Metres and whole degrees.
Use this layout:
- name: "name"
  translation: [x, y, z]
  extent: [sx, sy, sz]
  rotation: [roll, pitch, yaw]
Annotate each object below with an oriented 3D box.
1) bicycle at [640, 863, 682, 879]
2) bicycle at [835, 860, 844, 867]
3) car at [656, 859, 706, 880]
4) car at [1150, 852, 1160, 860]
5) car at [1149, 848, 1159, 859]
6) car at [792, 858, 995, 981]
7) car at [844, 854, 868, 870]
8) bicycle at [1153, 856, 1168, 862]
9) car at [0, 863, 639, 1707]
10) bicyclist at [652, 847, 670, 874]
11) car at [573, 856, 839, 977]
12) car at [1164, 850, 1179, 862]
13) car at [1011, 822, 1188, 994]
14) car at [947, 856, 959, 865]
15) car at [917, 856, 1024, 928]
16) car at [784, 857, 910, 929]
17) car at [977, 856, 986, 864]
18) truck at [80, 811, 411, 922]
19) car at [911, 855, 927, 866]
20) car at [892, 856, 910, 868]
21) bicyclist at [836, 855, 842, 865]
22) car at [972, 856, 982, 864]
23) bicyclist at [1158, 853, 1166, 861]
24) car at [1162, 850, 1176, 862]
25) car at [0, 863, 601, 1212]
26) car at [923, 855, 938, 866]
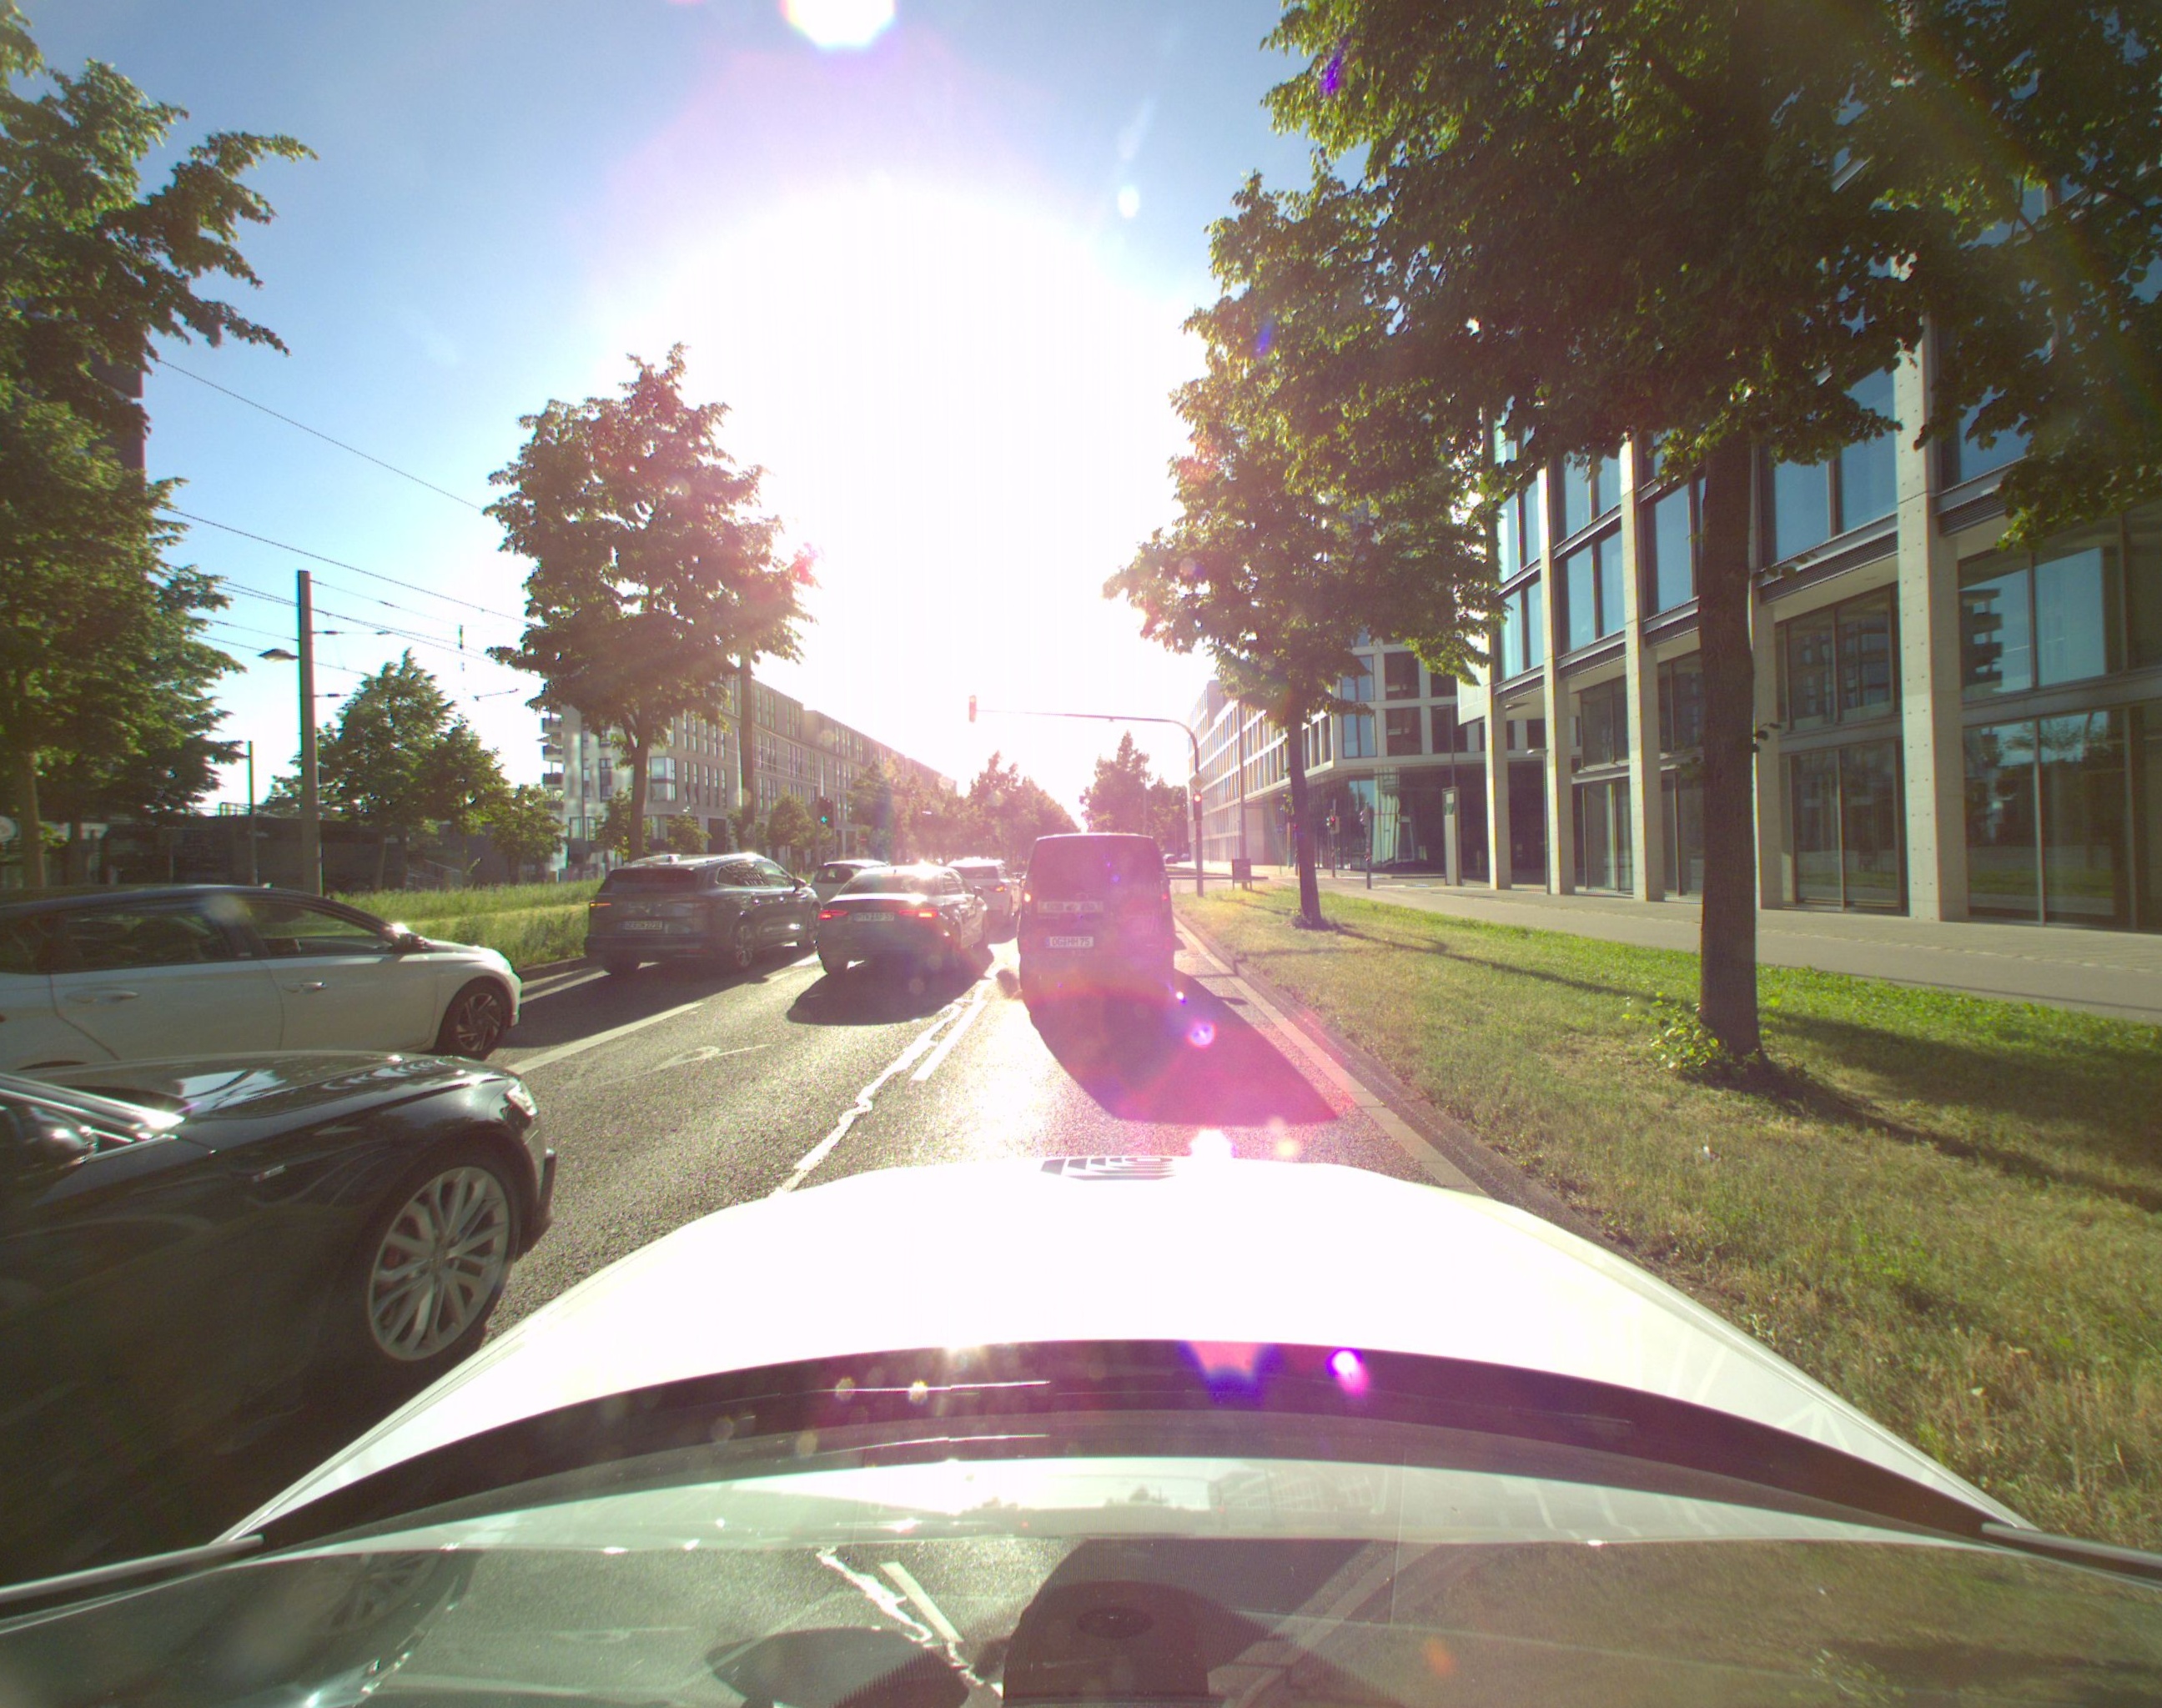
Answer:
- name: "bicycle"
  translation: [-34.100, 1.359, 66.173]
  extent: [2.931, 1.190, 0.818]
  rotation: [-2, 0, 1]
- name: "bicycle"
  translation: [-36.159, 1.421, 121.721]
  extent: [0.674, 0.988, 1.957]
  rotation: [-2, 0, 2]
- name: "car"
  translation: [-31.016, 1.158, 63.193]
  extent: [1.758, 1.520, 4.002]
  rotation: [-2, 0, 2]
- name: "car"
  translation: [16.500, 0.388, 180.813]
  extent: [1.986, 1.782, 4.002]
  rotation: [-2, 0, 2]
- name: "car"
  translation: [17.877, -0.145, 199.314]
  extent: [1.986, 2.497, 4.988]
  rotation: [-2, 0, 2]
- name: "car"
  translation: [-2.491, 0.799, 11.993]
  extent: [1.835, 1.426, 4.340]
  rotation: [-1, 0, 2]
- name: "car"
  translation: [-30.866, 1.085, 111.714]
  extent: [1.986, 2.013, 4.002]
  rotation: [-1, 0, 2]
- name: "bicycle"
  translation: [14.816, 0.920, 151.036]
  extent: [2.611, 1.106, 0.957]
  rotation: [-2, 0, 36]
- name: "car"
  translation: [-2.782, 0.807, 0.828]
  extent: [1.868, 1.484, 4.967]
  rotation: [-2, 0, 1]
- name: "bicyclist"
  translation: [-34.128, 0.524, 66.188]
  extent: [0.936, 2.092, 0.818]
  rotation: [-2, 0, 1]
- name: "car"
  translation: [-5.283, 0.790, 12.280]
  extent: [1.793, 1.447, 4.569]
  rotation: [-1, -1, 1]
- name: "car"
  translation: [14.330, 0.308, 128.918]
  extent: [1.986, 1.782, 4.002]
  rotation: [-2, 0, 2]
- name: "car"
  translation: [0.257, 0.565, 10.623]
  extent: [1.835, 1.780, 4.002]
  rotation: [-1, 0, 2]
- name: "car"
  translation: [-28.905, 1.382, 184.484]
  extent: [1.986, 2.013, 4.002]
  rotation: [-1, 0, 2]
- name: "car"
  translation: [-2.428, 0.788, 18.836]
  extent: [1.797, 1.426, 3.902]
  rotation: [-1, 0, 2]
- name: "car"
  translation: [-5.551, 0.863, 19.957]
  extent: [1.794, 1.483, 4.566]
  rotation: [2, 0, -1]
- name: "car"
  translation: [-27.457, 1.597, 224.934]
  extent: [1.986, 2.013, 4.002]
  rotation: [-1, 0, 2]
- name: "truck"
  translation: [-33.596, 0.435, 33.765]
  extent: [2.880, 3.853, 10.217]
  rotation: [-2, 0, 2]
- name: "car"
  translation: [-30.103, 1.206, 151.404]
  extent: [1.986, 2.013, 4.002]
  rotation: [-1, 0, 2]
- name: "car"
  translation: [-30.577, 1.357, 138.576]
  extent: [1.986, 2.013, 4.002]
  rotation: [-1, 0, 2]
- name: "bicyclist"
  translation: [-36.172, 0.881, 121.761]
  extent: [0.674, 1.529, 0.714]
  rotation: [-2, 0, 1]
- name: "car"
  translation: [-27.913, 1.564, 219.317]
  extent: [1.986, 2.013, 4.002]
  rotation: [-1, 0, 2]
- name: "bicyclist"
  translation: [14.997, 0.545, 150.896]
  extent: [0.974, 1.436, 0.957]
  rotation: [-2, 0, 36]
- name: "car"
  translation: [14.440, 0.333, 133.928]
  extent: [1.986, 1.782, 4.002]
  rotation: [-2, 0, 2]
- name: "car"
  translation: [-5.513, 0.841, 5.405]
  extent: [1.792, 1.447, 4.571]
  rotation: [-2, 0, 2]
- name: "car"
  translation: [-29.693, 1.255, 160.501]
  extent: [1.986, 2.013, 4.002]
  rotation: [-1, 0, 2]
